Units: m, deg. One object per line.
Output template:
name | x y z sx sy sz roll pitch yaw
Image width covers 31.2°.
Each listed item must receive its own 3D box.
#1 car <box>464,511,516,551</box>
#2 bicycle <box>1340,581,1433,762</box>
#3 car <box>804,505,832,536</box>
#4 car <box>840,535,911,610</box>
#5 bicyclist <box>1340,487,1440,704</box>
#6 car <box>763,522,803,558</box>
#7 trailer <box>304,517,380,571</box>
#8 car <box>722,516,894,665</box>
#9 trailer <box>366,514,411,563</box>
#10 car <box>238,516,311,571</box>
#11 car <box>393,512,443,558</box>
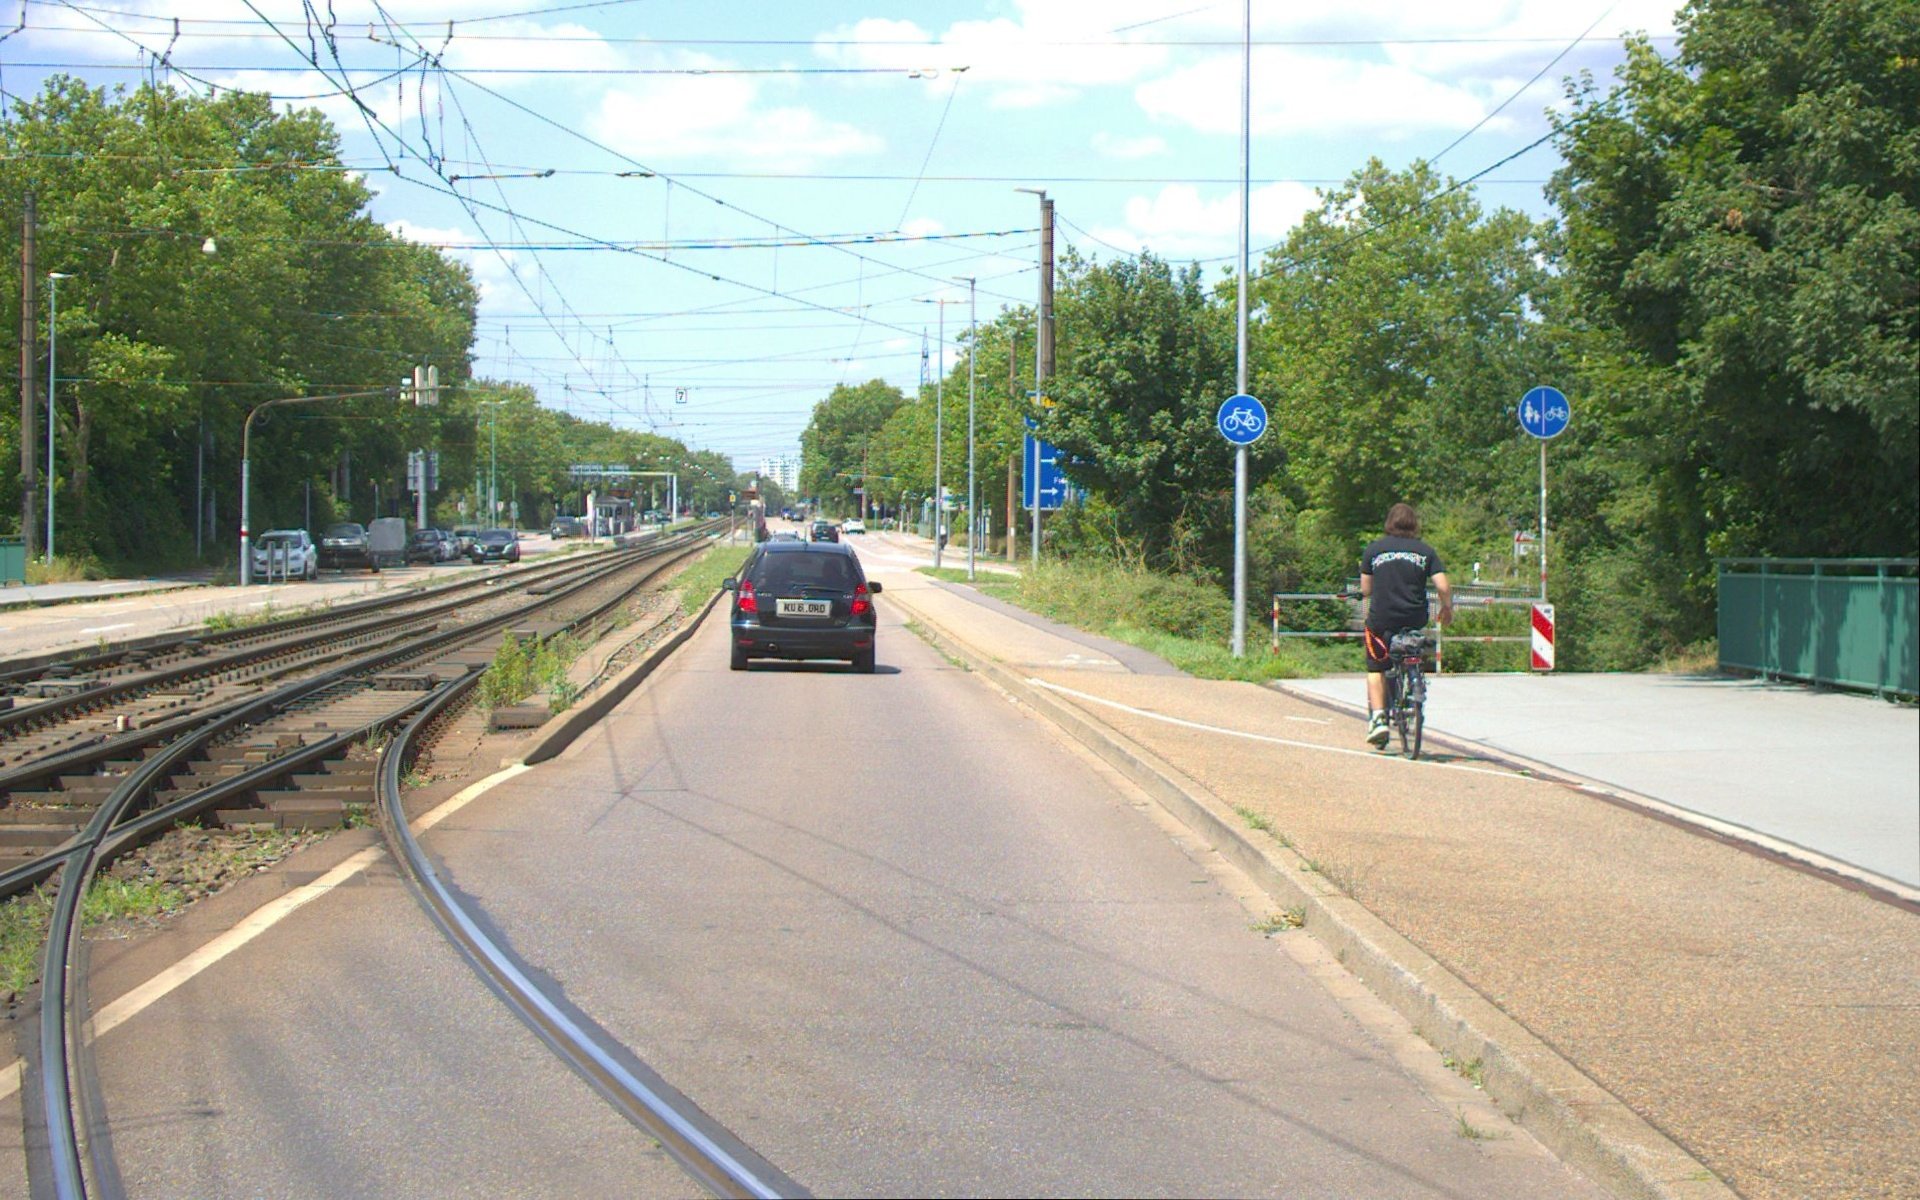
car | -20.946 -3.087 153.420 1.875 1.714 5.331 1 1 -4
bicycle | 3.003 0.480 24.317 0.432 1.148 1.855 2 2 2
car | -9.856 -5.502 238.526 1.786 2.006 4.001 2 2 -3
car | -2.497 -0.824 101.803 1.993 2.006 4.001 2 2 -1
bicyclist | 3.032 -0.038 24.292 0.585 1.489 0.558 2 2 2
car | -9.173 -3.132 178.356 1.884 1.634 4.001 5 2 -2
trailer | -22.910 -2.091 127.701 2.461 1.882 5.964 1 1 -7
car | -1.840 -0.166 42.762 1.853 1.564 4.389 2 3 0
trailer | -24.620 -2.669 148.087 1.609 2.006 3.917 2 2 -6
car | -22.316 -1.857 112.022 1.719 1.625 4.617 -2 3 -4
car | -25.657 -3.083 162.878 1.854 2.006 4.001 2 2 -3
